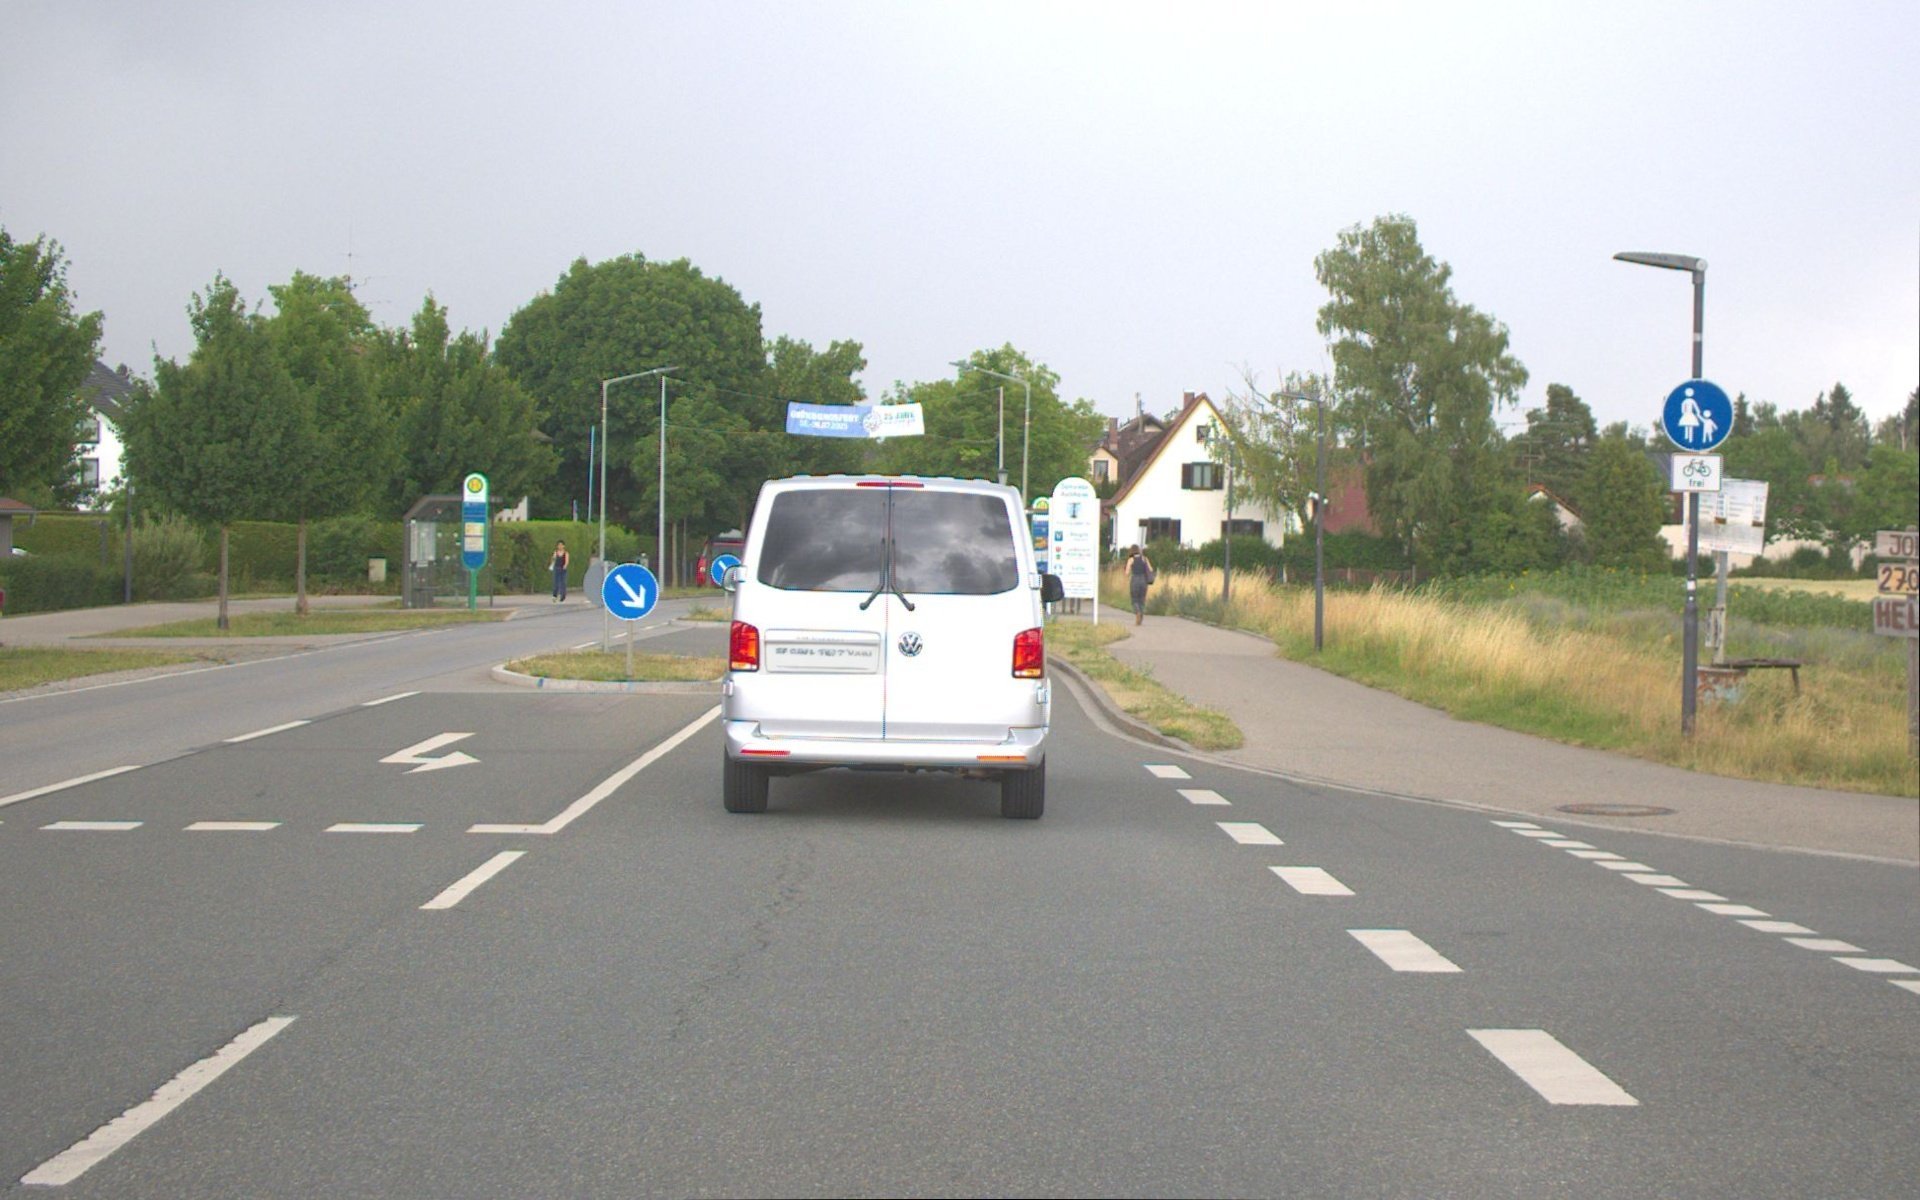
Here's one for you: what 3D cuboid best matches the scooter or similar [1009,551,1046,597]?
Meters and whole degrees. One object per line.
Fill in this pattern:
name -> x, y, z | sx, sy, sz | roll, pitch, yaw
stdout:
scooter or similar -> 1.649, -0.640, 84.028 | 0.848, 1.100, 1.094 | -1, 1, 0

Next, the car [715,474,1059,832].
car -> -0.476, 0.247, 20.868 | 1.825, 1.907, 4.001 | 2, 1, -2

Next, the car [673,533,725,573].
car -> -9.498, -1.734, 125.381 | 1.653, 1.424, 3.602 | -1, 1, -1

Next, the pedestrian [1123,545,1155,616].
pedestrian -> 3.851, -0.418, 73.896 | 0.623, 1.519, 0.680 | -1, 1, -1

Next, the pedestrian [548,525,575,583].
pedestrian -> -10.383, -1.202, 89.572 | 0.623, 1.519, 0.680 | -1, 1, -1
